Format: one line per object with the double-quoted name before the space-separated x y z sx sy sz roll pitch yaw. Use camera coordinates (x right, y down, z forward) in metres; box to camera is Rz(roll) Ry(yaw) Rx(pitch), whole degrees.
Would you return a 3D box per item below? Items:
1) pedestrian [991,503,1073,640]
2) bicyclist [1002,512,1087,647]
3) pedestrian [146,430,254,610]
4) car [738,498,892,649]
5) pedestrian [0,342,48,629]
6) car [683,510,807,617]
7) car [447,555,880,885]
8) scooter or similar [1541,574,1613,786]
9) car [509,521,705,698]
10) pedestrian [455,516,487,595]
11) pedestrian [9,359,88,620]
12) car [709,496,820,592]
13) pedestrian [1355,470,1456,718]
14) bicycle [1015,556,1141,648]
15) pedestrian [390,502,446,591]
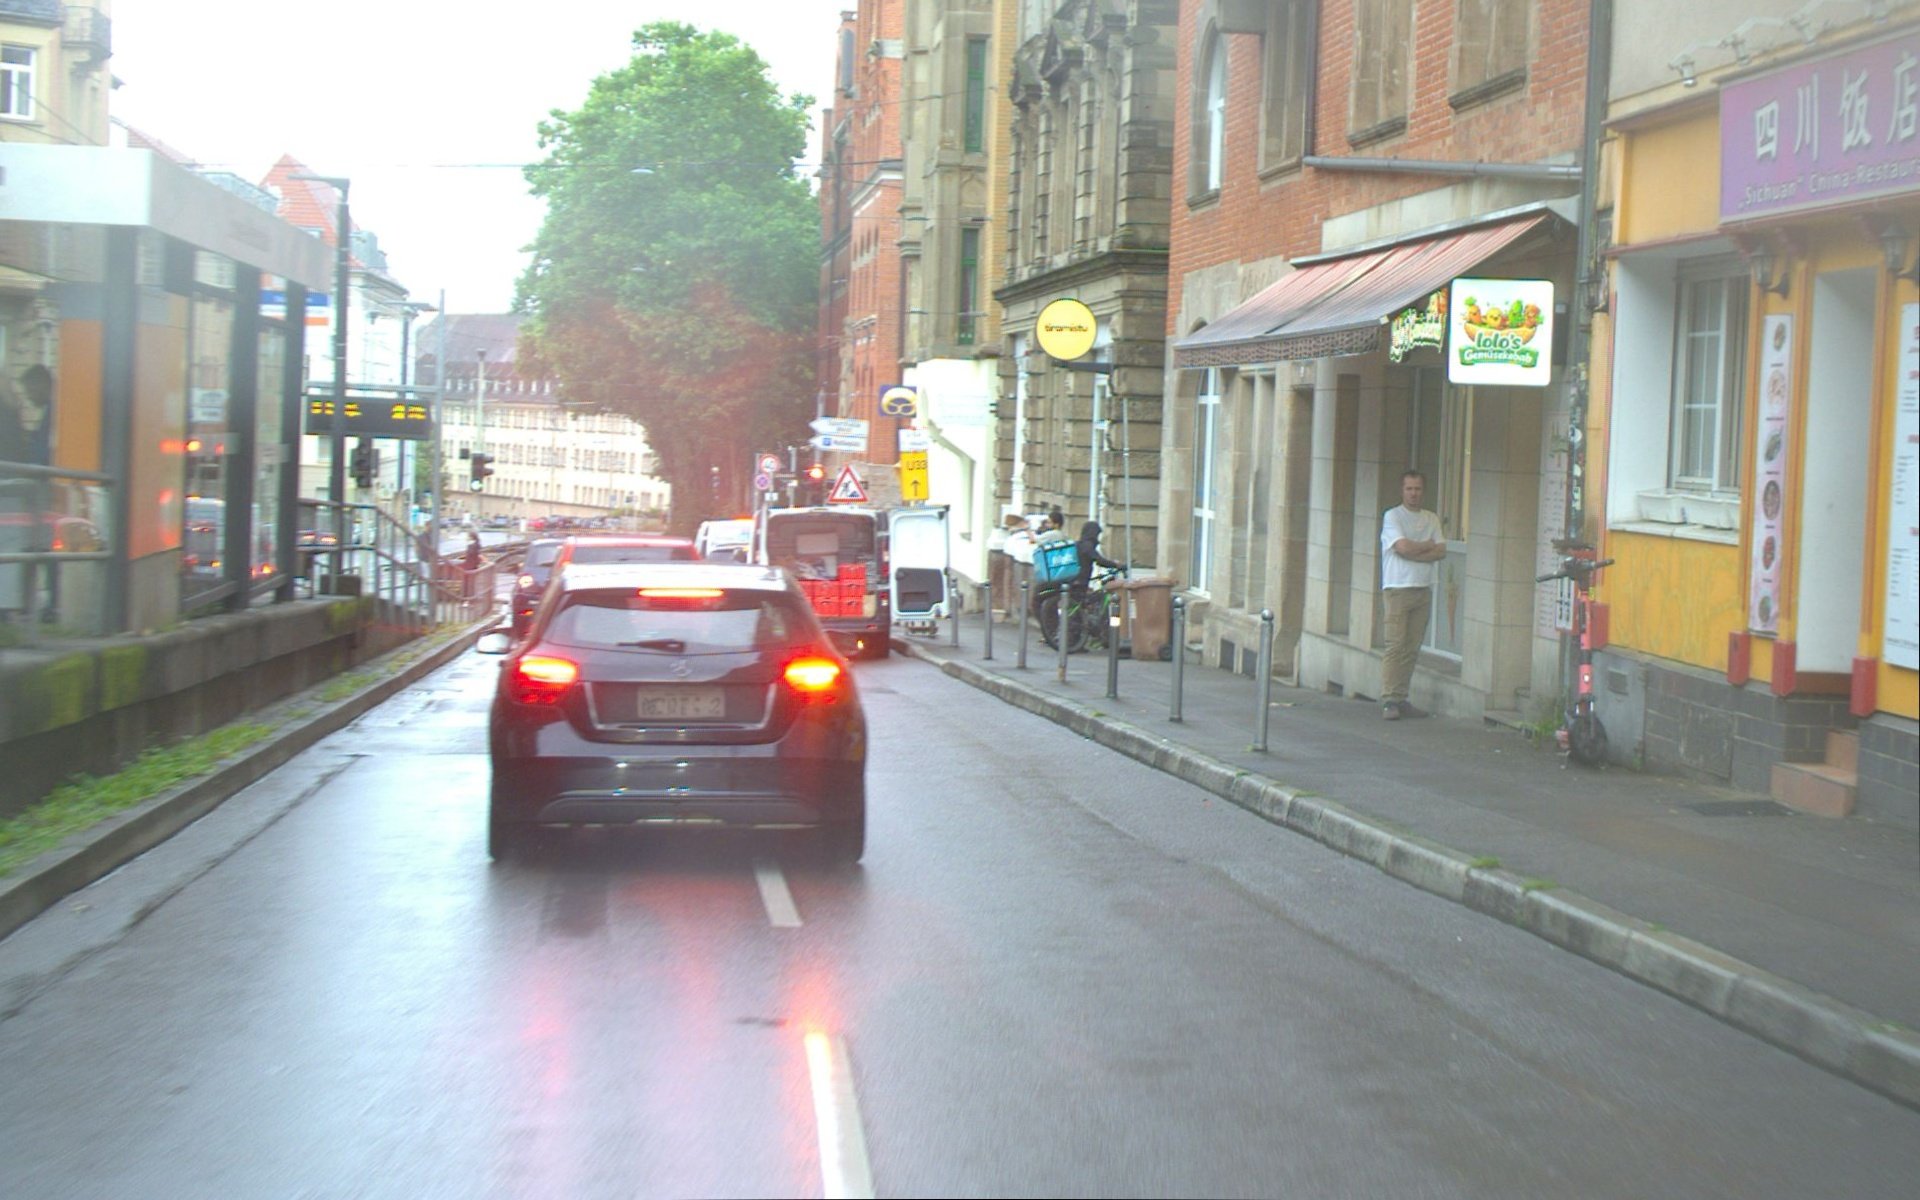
"pedestrian" 0.942 -0.375 44.741 0.686 1.748 0.834 2 1 37
"bicyclist" 1.050 -0.260 42.752 0.848 1.651 0.631 0 1 -42
"pedestrian" -5.312 -0.556 24.040 0.613 1.222 0.507 2 1 -2
"car" -2.053 -0.401 47.478 1.920 1.929 4.686 2 1 -4
"pedestrian" -5.546 -0.647 19.408 0.496 1.599 0.636 2 1 11
"car" -4.046 -0.714 64.093 1.932 1.825 4.282 2 2 -8
"car" -1.481 0.517 17.436 1.894 1.385 4.001 2 1 -4
"scooter or similar" 3.723 0.467 20.782 0.257 1.217 1.194 2 1 4
"car" -3.311 0.045 31.872 1.679 1.484 3.614 1 2 -7
"pedestrian" -9.666 -0.877 67.937 0.531 1.525 0.437 2 1 -13
"pedestrian" -5.679 -0.687 21.425 0.409 1.599 0.450 2 1 -11
"car" -3.228 -0.946 56.809 1.713 1.464 4.282 2 1 -3
"pedestrian" 3.337 -0.051 25.766 0.577 1.824 0.564 -2 1 -8
"bicycle" 1.462 0.024 42.478 1.684 1.111 0.464 0 1 -42
"pedestrian" -10.705 -1.052 67.859 0.740 1.718 0.739 3 1 42
